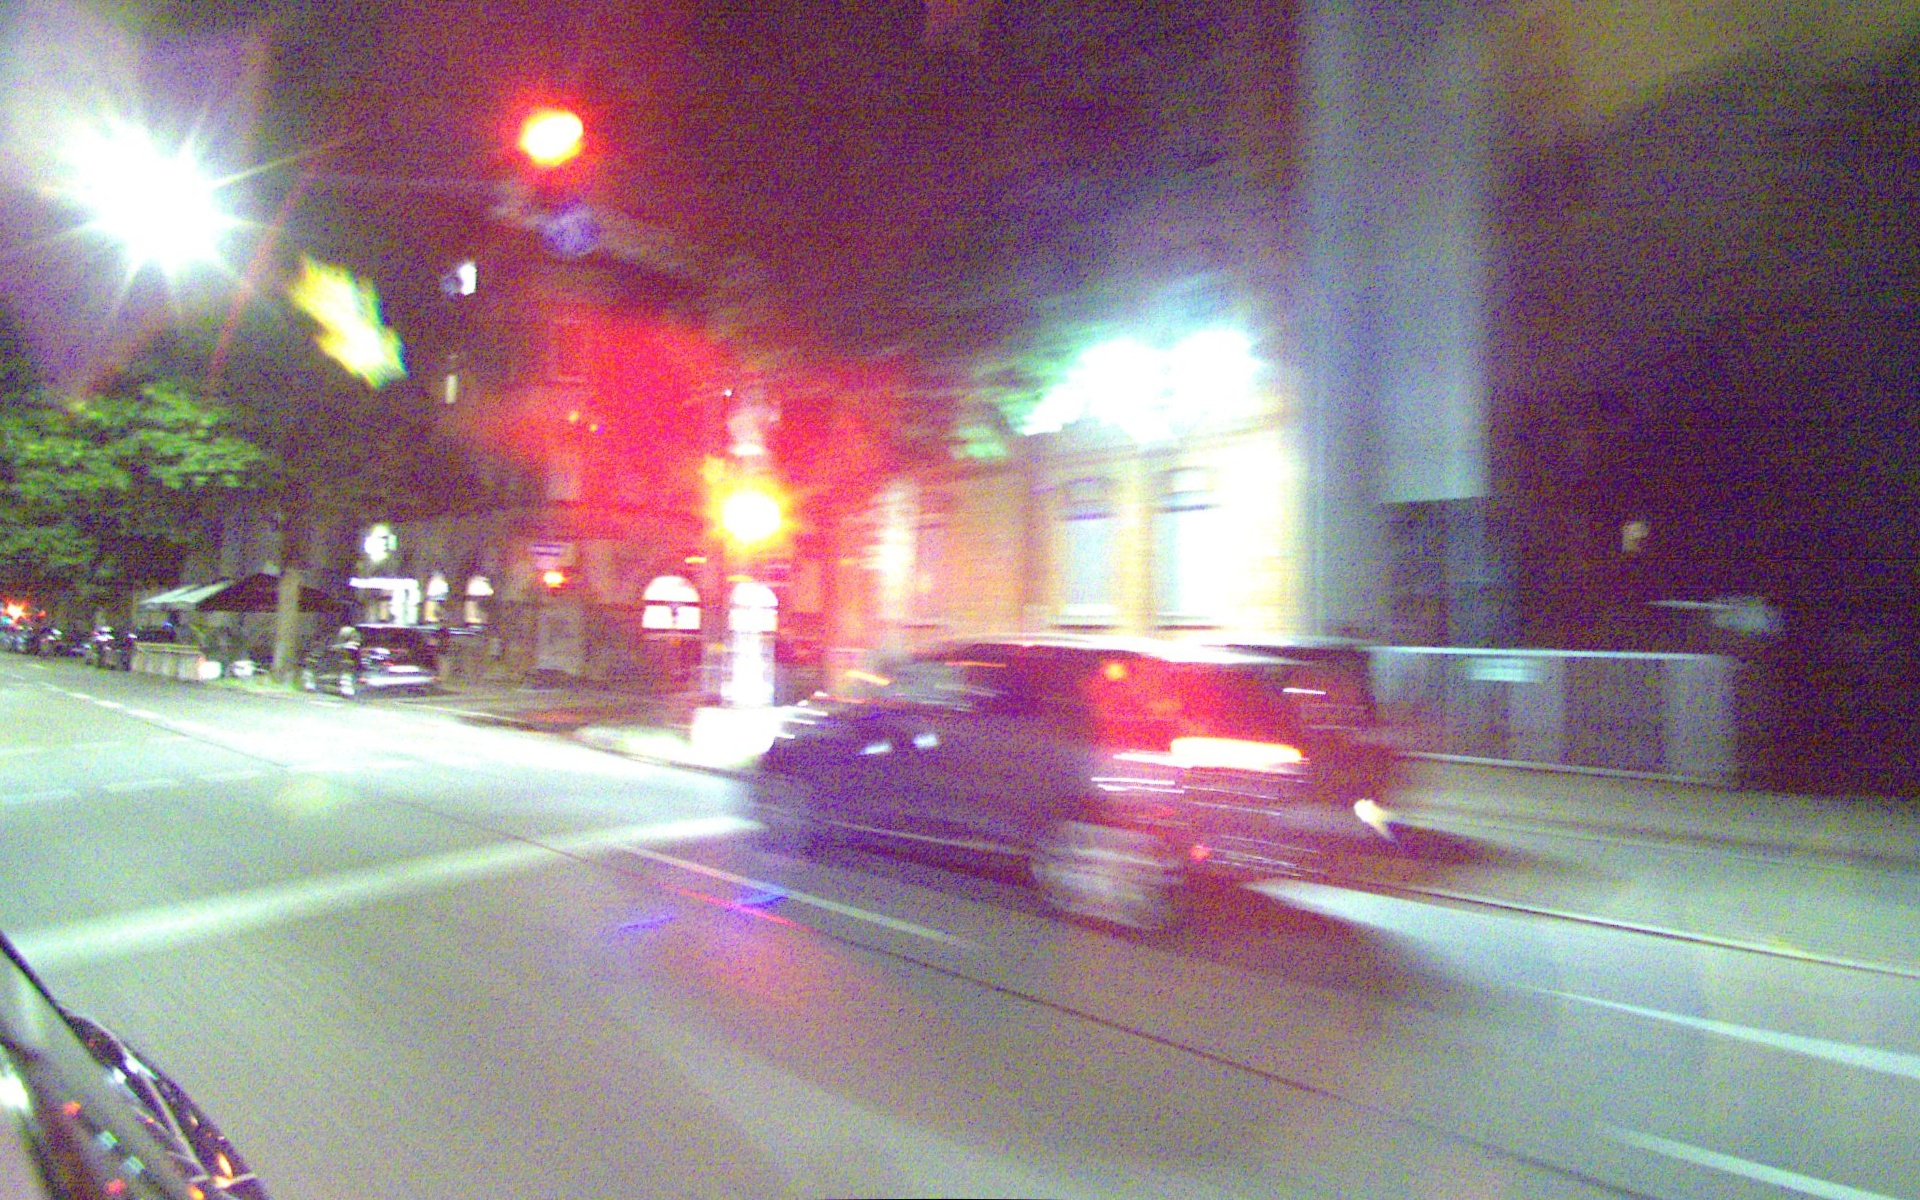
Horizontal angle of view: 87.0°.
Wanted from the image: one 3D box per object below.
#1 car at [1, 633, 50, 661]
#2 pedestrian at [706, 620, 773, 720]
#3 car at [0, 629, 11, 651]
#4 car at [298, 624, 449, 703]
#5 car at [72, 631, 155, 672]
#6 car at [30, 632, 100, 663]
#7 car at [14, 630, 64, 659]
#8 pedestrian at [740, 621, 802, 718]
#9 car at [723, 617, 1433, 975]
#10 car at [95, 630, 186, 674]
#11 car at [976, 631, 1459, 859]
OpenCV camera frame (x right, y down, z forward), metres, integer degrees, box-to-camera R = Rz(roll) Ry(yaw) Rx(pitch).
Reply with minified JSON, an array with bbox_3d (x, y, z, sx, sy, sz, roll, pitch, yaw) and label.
[{"bbox_3d":[-52.602,2.624,56.956,4.348,1.444,1.621,-1,-2,42],"label":"car"},{"bbox_3d":[-3.924,1.228,17.949,0.700,1.703,1.126,4,-4,-38],"label":"pedestrian"},{"bbox_3d":[-65.197,2.660,67.894,3.509,1.475,1.613,-1,-4,38],"label":"car"},{"bbox_3d":[-13.252,1.358,22.785,4.024,1.608,1.865,-2,-2,43],"label":"car"},{"bbox_3d":[-33.092,1.965,39.527,4.471,1.490,1.841,-1,-3,42],"label":"car"},{"bbox_3d":[-42.862,2.250,48.447,4.399,1.444,1.842,-1,-3,40],"label":"car"},{"bbox_3d":[-49.041,2.340,53.860,4.346,1.444,1.535,-1,-2,42],"label":"car"},{"bbox_3d":[-3.451,1.252,18.473,0.700,1.703,0.999,4,-4,-38],"label":"pedestrian"},{"bbox_3d":[0.472,0.898,6.099,3.999,1.440,1.697,-2,-5,42],"label":"car"},{"bbox_3d":[-29.306,1.807,36.157,4.442,1.444,1.841,-1,-2,42],"label":"car"},{"bbox_3d":[1.994,1.018,8.594,1.574,1.503,3.702,1,-2,-44],"label":"car"}]
